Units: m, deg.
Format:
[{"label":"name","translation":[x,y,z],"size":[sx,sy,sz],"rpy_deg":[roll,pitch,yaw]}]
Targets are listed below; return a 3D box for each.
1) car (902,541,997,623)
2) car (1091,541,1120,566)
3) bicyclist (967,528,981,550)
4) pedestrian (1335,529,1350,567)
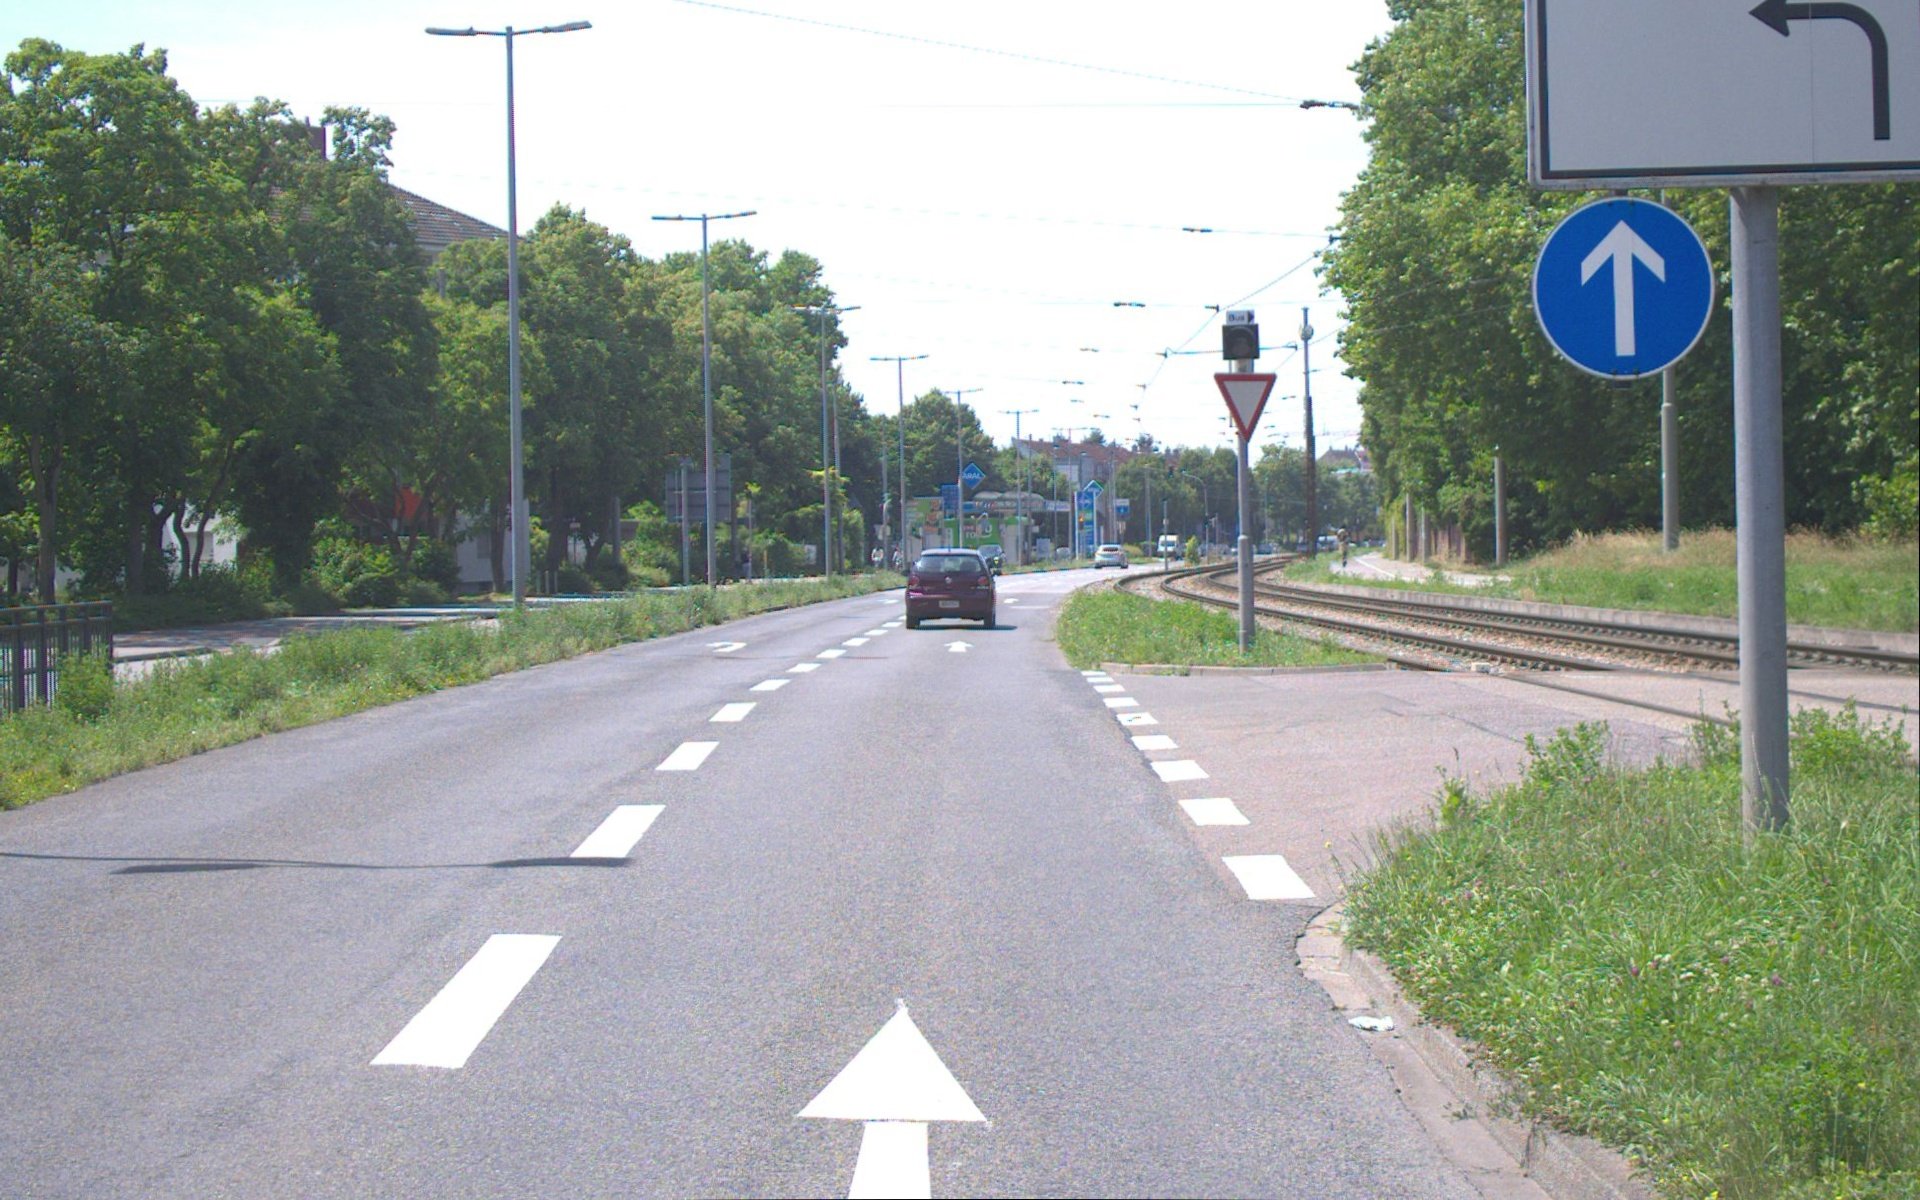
[{"label":"car","translation":[-0.179,-0.335,63.878],"size":[1.703,1.472,3.716],"rpy_deg":[0,0,0]},{"label":"car","translation":[8.999,-2.876,212.688],"size":[1.703,1.475,3.716],"rpy_deg":[1,0,2]},{"label":"bicyclist","translation":[1.012,-4.439,249.800],"size":[0.944,1.588,1.088],"rpy_deg":[0,0,-6]},{"label":"pedestrian","translation":[17.297,-2.364,155.440],"size":[0.662,1.720,0.816],"rpy_deg":[-1,1,6]}]
